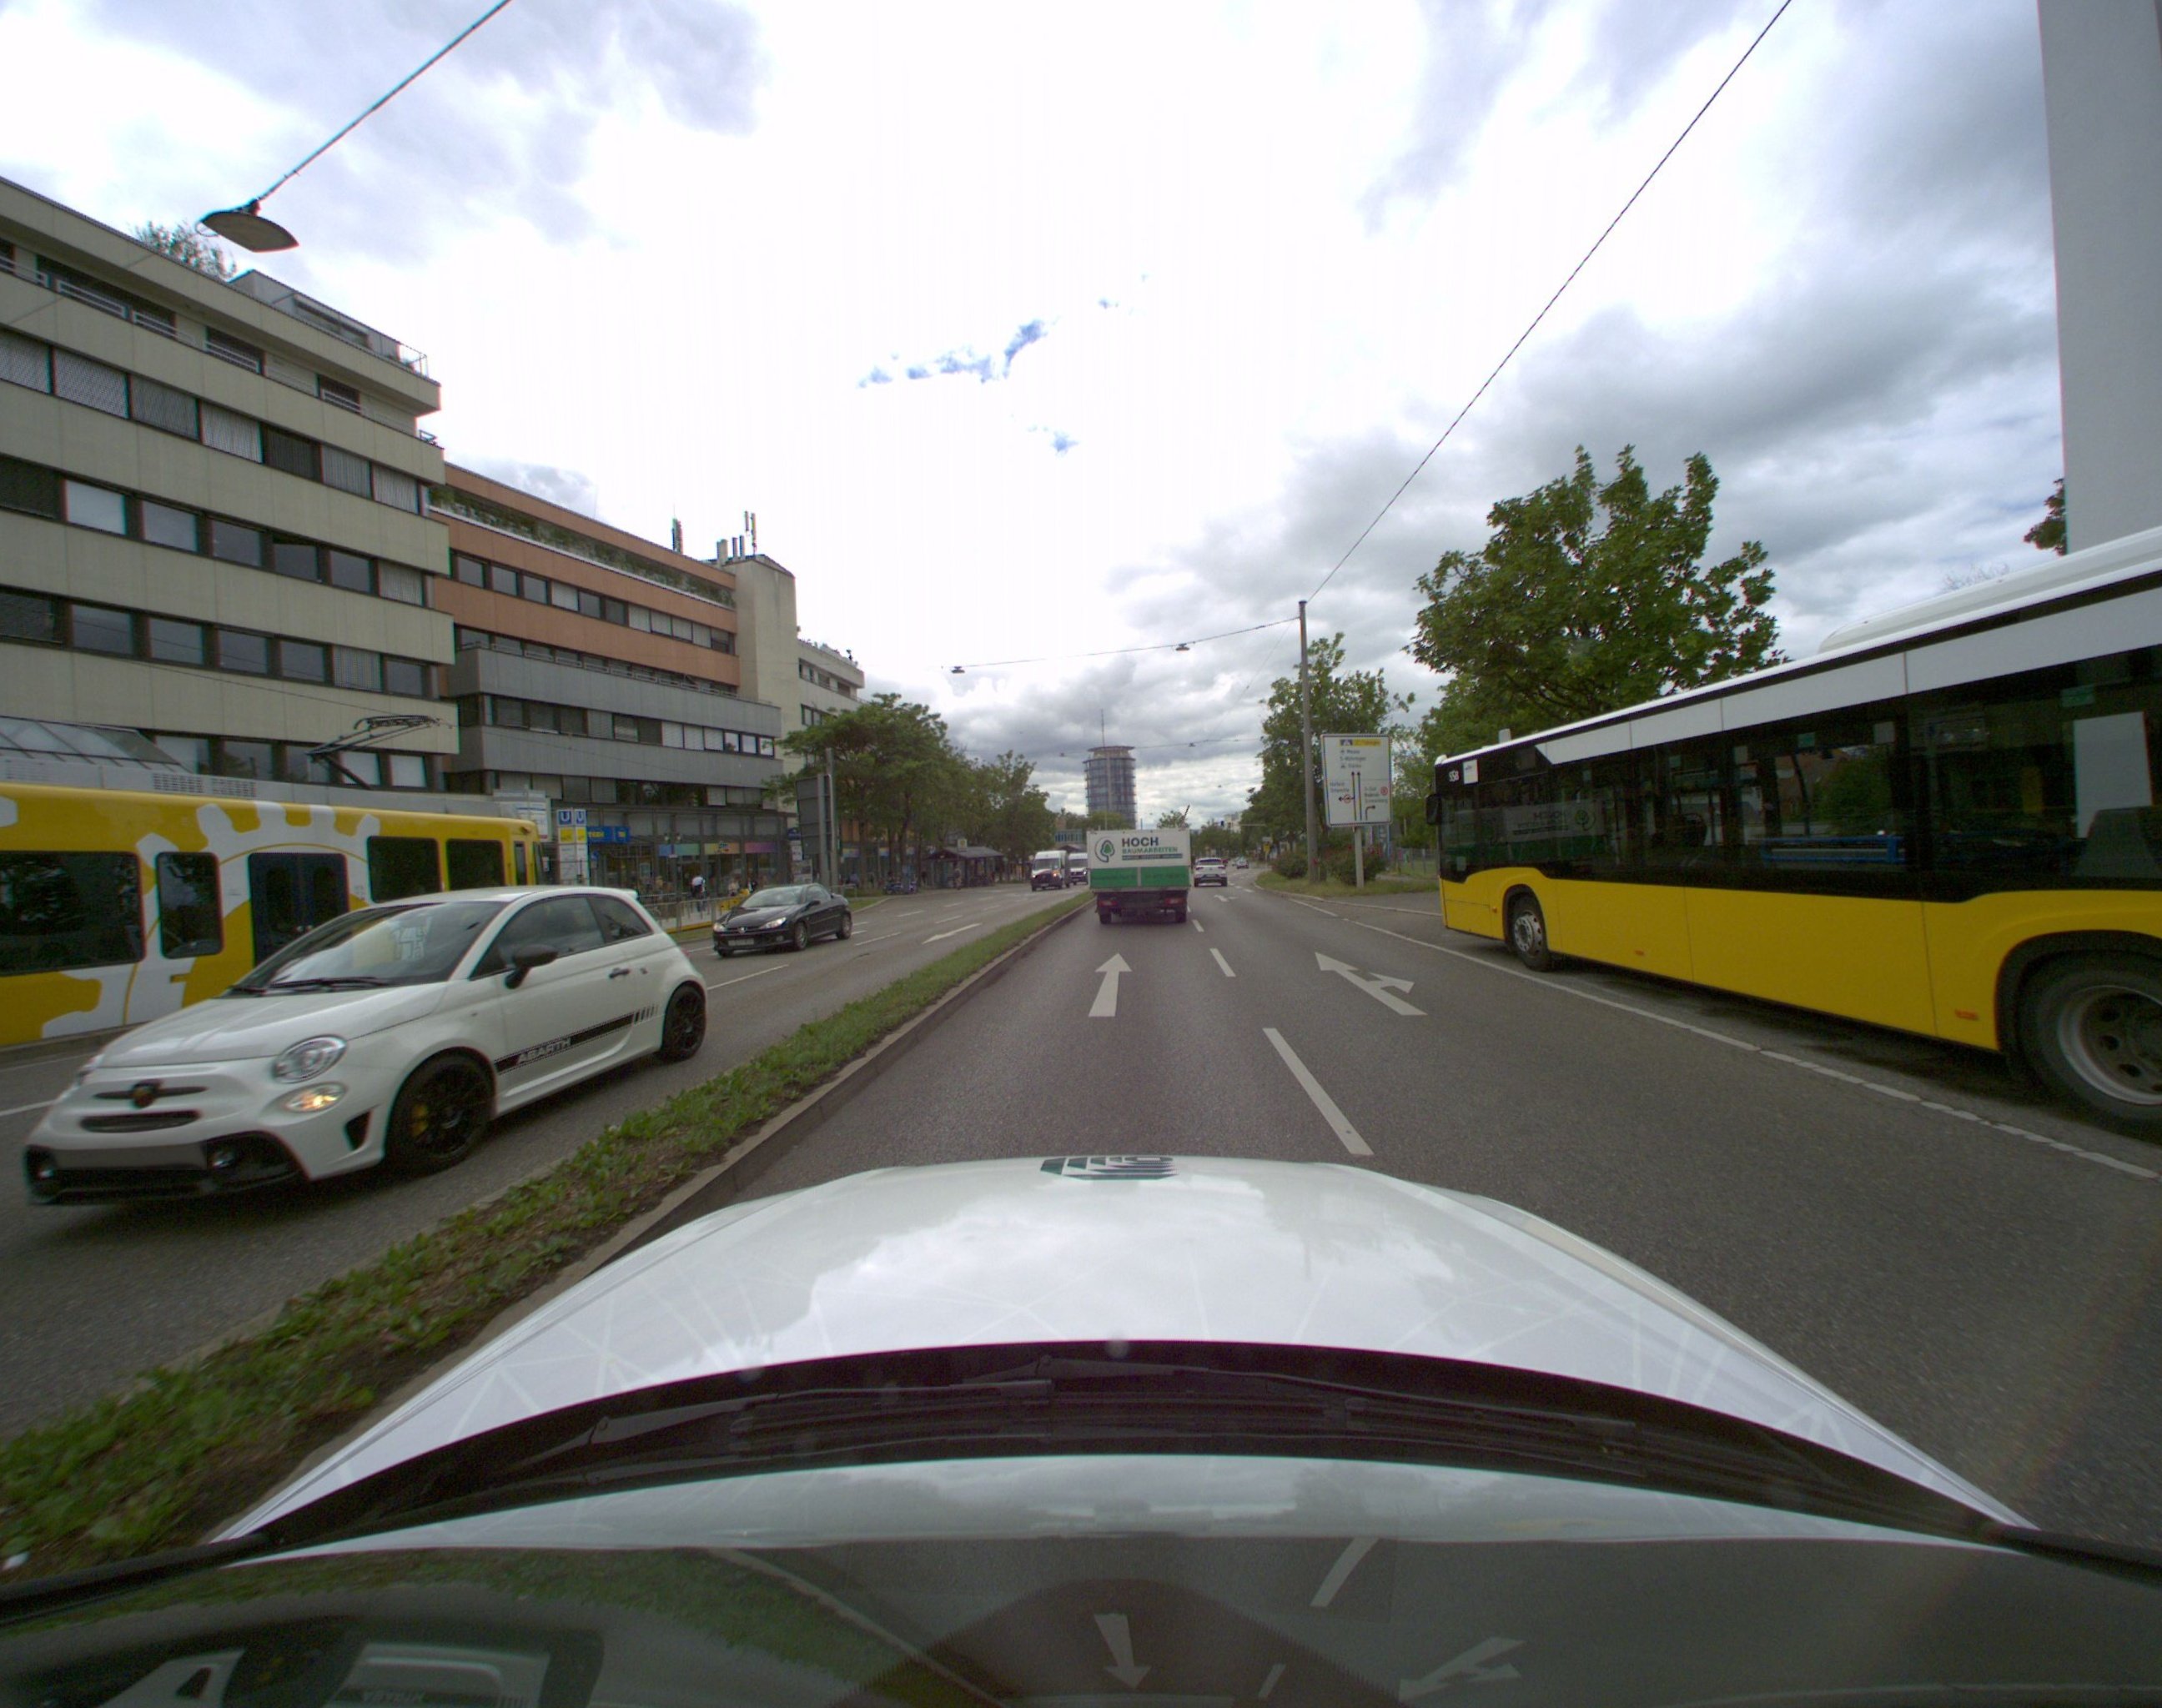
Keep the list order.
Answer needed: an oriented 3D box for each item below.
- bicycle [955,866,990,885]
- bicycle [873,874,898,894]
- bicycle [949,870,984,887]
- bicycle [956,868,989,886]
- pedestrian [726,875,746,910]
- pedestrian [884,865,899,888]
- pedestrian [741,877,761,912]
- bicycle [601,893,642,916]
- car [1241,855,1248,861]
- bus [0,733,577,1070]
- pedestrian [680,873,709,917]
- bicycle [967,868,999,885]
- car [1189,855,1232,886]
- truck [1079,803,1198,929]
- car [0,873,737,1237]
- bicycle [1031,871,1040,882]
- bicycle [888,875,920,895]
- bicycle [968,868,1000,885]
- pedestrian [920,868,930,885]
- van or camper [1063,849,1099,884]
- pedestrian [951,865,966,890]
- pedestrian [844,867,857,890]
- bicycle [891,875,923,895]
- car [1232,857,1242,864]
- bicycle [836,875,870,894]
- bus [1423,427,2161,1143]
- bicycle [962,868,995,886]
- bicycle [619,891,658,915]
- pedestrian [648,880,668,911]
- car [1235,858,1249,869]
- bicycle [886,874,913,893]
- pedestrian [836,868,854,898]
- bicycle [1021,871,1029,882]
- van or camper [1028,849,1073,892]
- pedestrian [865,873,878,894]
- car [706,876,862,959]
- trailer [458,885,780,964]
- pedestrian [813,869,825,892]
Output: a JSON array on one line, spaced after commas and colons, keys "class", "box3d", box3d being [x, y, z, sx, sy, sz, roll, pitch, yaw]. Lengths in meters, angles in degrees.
[{"class": "bicycle", "box3d": [-9.799, 1.951, 73.493, 2.885, 1.506, 0.893, -3, -1, 5]}, {"class": "bicycle", "box3d": [-12.656, 1.930, 52.738, 0.598, 1.161, 1.974, -3, 0, 17]}, {"class": "bicycle", "box3d": [-10.178, 2.175, 72.441, 2.885, 1.507, 0.974, -1, -1, 5]}, {"class": "bicycle", "box3d": [-10.055, 2.166, 75.368, 2.885, 1.506, 0.807, -3, -1, 5]}, {"class": "pedestrian", "box3d": [-16.238, 1.817, 38.343, 0.596, 1.573, 0.621, -3, -1, 3]}, {"class": "pedestrian", "box3d": [-14.573, 1.716, 62.545, 0.766, 1.716, 0.791, -1, -1, 31]}, {"class": "pedestrian", "box3d": [-15.482, 1.878, 38.201, 0.596, 1.573, 0.621, -3, -1, 3]}, {"class": "bicycle", "box3d": [-25.127, 2.750, 44.520, 1.997, 1.161, 0.677, -3, -1, 14]}, {"class": "car", "box3d": [49.195, 1.254, 245.396, 1.981, 1.552, 4.012, -3, -1, 11]}, {"class": "bus", "box3d": [-14.330, 0.639, 9.767, 3.863, 3.859, 19.348, -3, 0, 2]}, {"class": "pedestrian", "box3d": [-17.110, 1.788, 36.042, 0.741, 1.877, 0.875, -3, -1, 5]}, {"class": "bicycle", "box3d": [-9.303, 2.164, 77.637, 2.885, 1.506, 0.701, -3, -1, 5]}, {"class": "car", "box3d": [7.177, 0.855, 45.436, 1.859, 1.505, 4.778, -3, 0, 4]}, {"class": "truck", "box3d": [1.614, 0.243, 20.542, 2.457, 2.611, 6.560, -2, 0, 7]}, {"class": "car", "box3d": [-4.027, 0.950, 5.499, 1.581, 1.502, 3.722, -2, 0, 3]}, {"class": "bicycle", "box3d": [-4.950, 2.450, 88.537, 0.827, 1.084, 1.936, -3, -1, 0]}, {"class": "bicycle", "box3d": [-11.497, 2.008, 52.835, 0.597, 1.161, 1.977, -4, -1, 45]}, {"class": "bicycle", "box3d": [-9.349, 2.169, 78.527, 2.885, 1.506, 0.599, -3, -1, 5]}, {"class": "pedestrian", "box3d": [-15.952, 2.322, 83.486, 0.765, 1.716, 0.824, -1, -1, 8]}, {"class": "van or camper", "box3d": [0.048, 1.017, 66.889, 2.022, 2.598, 6.127, -5, -1, 7]}, {"class": "pedestrian", "box3d": [-9.188, 1.739, 61.048, 0.699, 1.823, 1.217, -1, -2, 10]}, {"class": "pedestrian", "box3d": [-16.685, 1.771, 58.900, 0.662, 1.584, 0.708, -1, -1, 8]}, {"class": "bicycle", "box3d": [-11.139, 1.974, 52.036, 1.976, 1.161, 0.597, -1, 0, -44]}, {"class": "car", "box3d": [35.991, 1.440, 187.938, 1.981, 1.552, 4.012, -3, -1, 11]}, {"class": "bicycle", "box3d": [-15.115, 2.031, 54.000, 2.028, 1.161, 0.666, -3, -1, -38]}, {"class": "bus", "box3d": [6.611, -0.275, 7.890, 2.970, 3.241, 9.873, 0, 0, 3]}, {"class": "bicycle", "box3d": [-9.527, 2.158, 75.964, 2.885, 1.506, 0.807, -3, -1, 5]}, {"class": "bicycle", "box3d": [-24.996, 2.756, 46.044, 0.667, 1.161, 2.028, -3, 0, 17]}, {"class": "pedestrian", "box3d": [-23.594, 2.319, 45.456, 0.646, 1.700, 0.669, -3, -1, 5]}, {"class": "car", "box3d": [25.544, 1.478, 128.936, 1.981, 1.552, 4.010, -3, -1, 9]}, {"class": "bicycle", "box3d": [-12.051, 1.934, 54.082, 0.597, 1.161, 1.700, -4, -1, 44]}, {"class": "pedestrian", "box3d": [-14.042, 1.725, 48.453, 0.771, 1.713, 0.708, -1, -1, 7]}, {"class": "bicycle", "box3d": [-6.053, 2.453, 88.635, 0.711, 1.136, 1.955, -3, -1, -1]}, {"class": "van or camper", "box3d": [-1.982, 1.071, 55.122, 1.983, 2.598, 6.127, -5, -1, 7]}, {"class": "pedestrian", "box3d": [-16.999, 2.386, 65.986, 0.766, 1.716, 0.791, -1, -1, 5]}, {"class": "car", "box3d": [-6.125, 1.242, 17.304, 1.499, 1.345, 3.953, -5, 0, 4]}, {"class": "trailer", "box3d": [-13.344, 1.921, 25.605, 2.830, 1.333, 12.130, -3, 0, 2]}, {"class": "pedestrian", "box3d": [-18.720, 1.902, 58.209, 0.626, 1.600, 0.626, -2, -1, 44]}]
